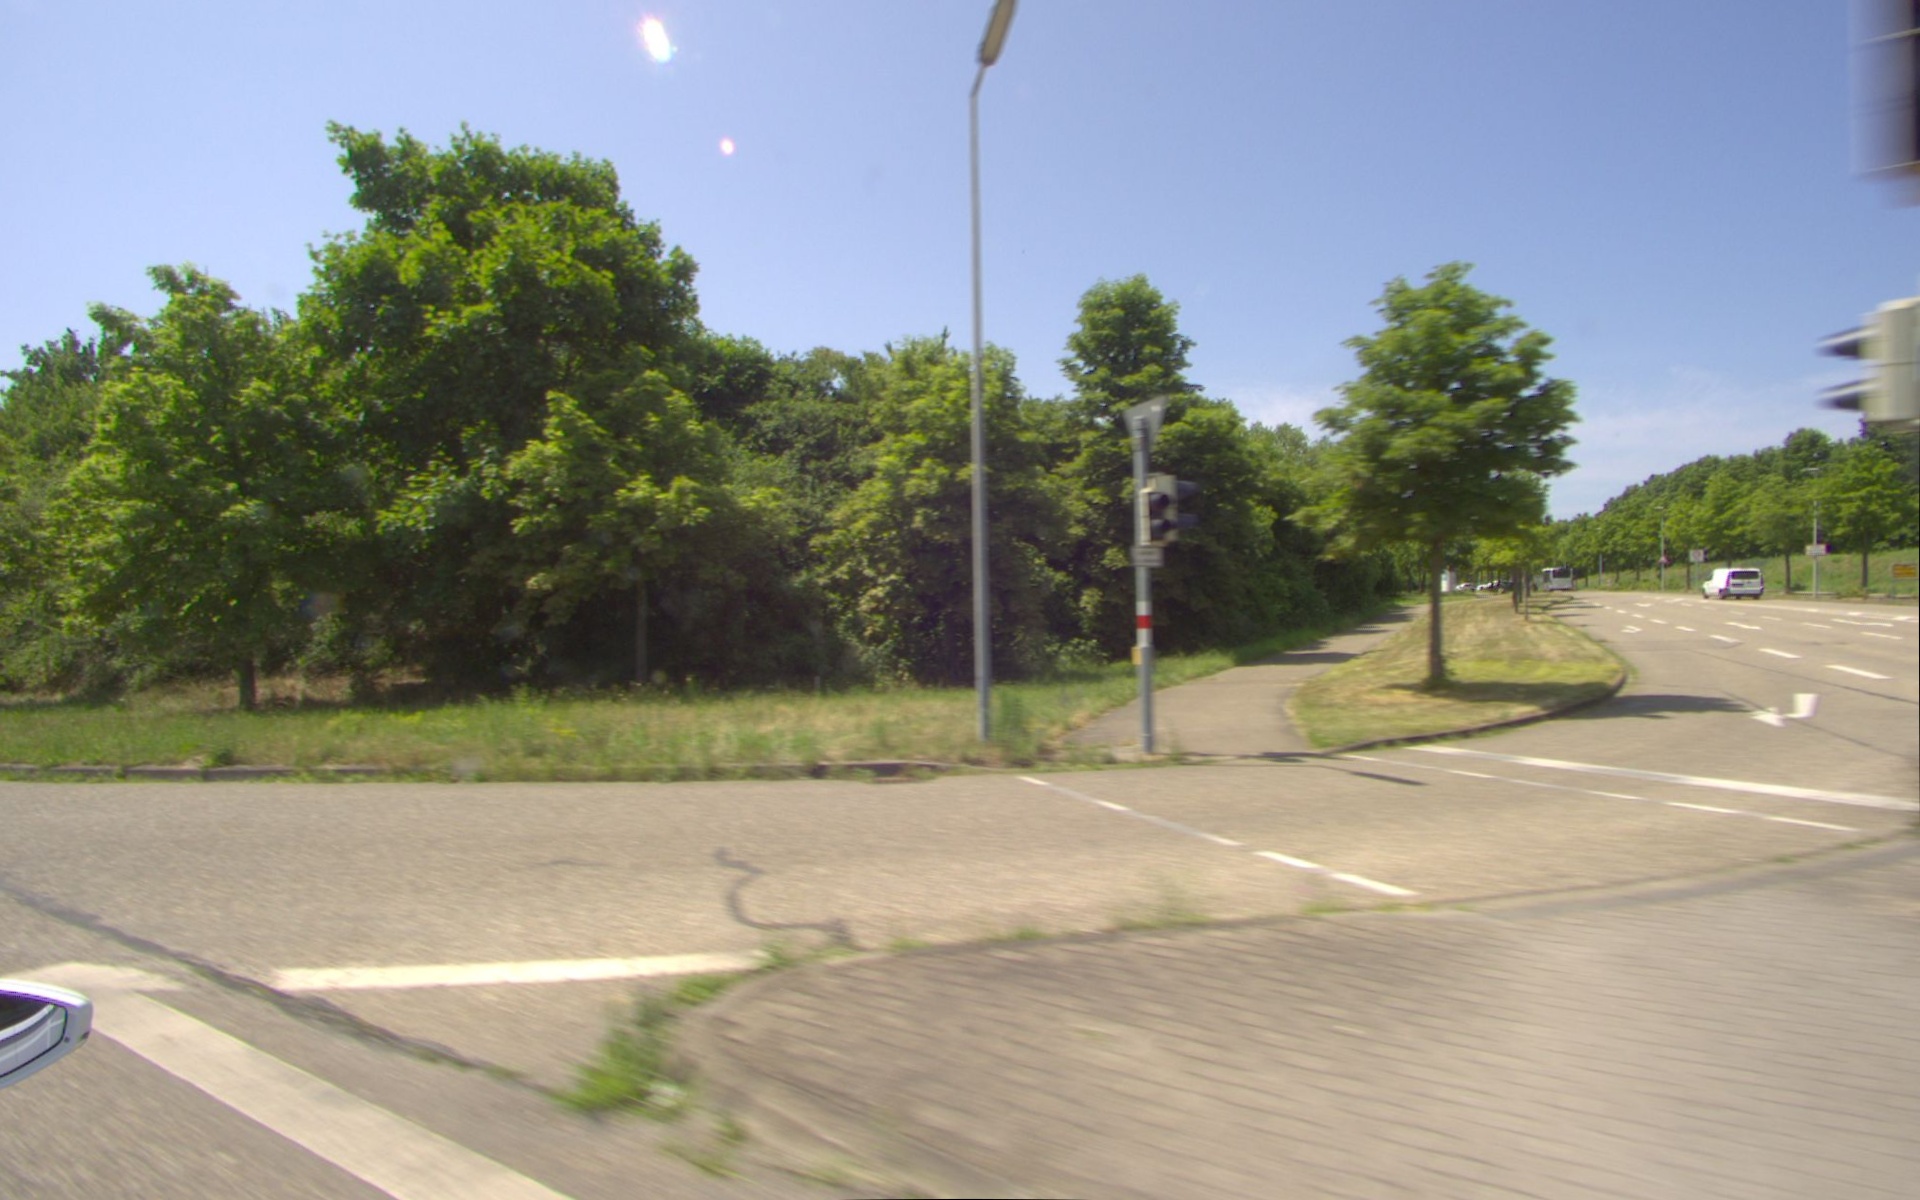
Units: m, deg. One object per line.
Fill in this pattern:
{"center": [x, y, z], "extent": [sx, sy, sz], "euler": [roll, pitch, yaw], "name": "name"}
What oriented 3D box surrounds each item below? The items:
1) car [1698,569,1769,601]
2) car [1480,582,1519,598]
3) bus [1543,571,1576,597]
{"center": [46.335, -0.904, 60.130], "extent": [1.833, 1.843, 4.897], "euler": [0, 2, 19], "name": "car"}
{"center": [60.530, -1.079, 112.290], "extent": [3.772, 1.571, 1.656], "euler": [-2, -3, 31], "name": "car"}
{"center": [78.782, -2.027, 131.665], "extent": [2.589, 3.127, 12.039], "euler": [-1, -1, 26], "name": "bus"}
